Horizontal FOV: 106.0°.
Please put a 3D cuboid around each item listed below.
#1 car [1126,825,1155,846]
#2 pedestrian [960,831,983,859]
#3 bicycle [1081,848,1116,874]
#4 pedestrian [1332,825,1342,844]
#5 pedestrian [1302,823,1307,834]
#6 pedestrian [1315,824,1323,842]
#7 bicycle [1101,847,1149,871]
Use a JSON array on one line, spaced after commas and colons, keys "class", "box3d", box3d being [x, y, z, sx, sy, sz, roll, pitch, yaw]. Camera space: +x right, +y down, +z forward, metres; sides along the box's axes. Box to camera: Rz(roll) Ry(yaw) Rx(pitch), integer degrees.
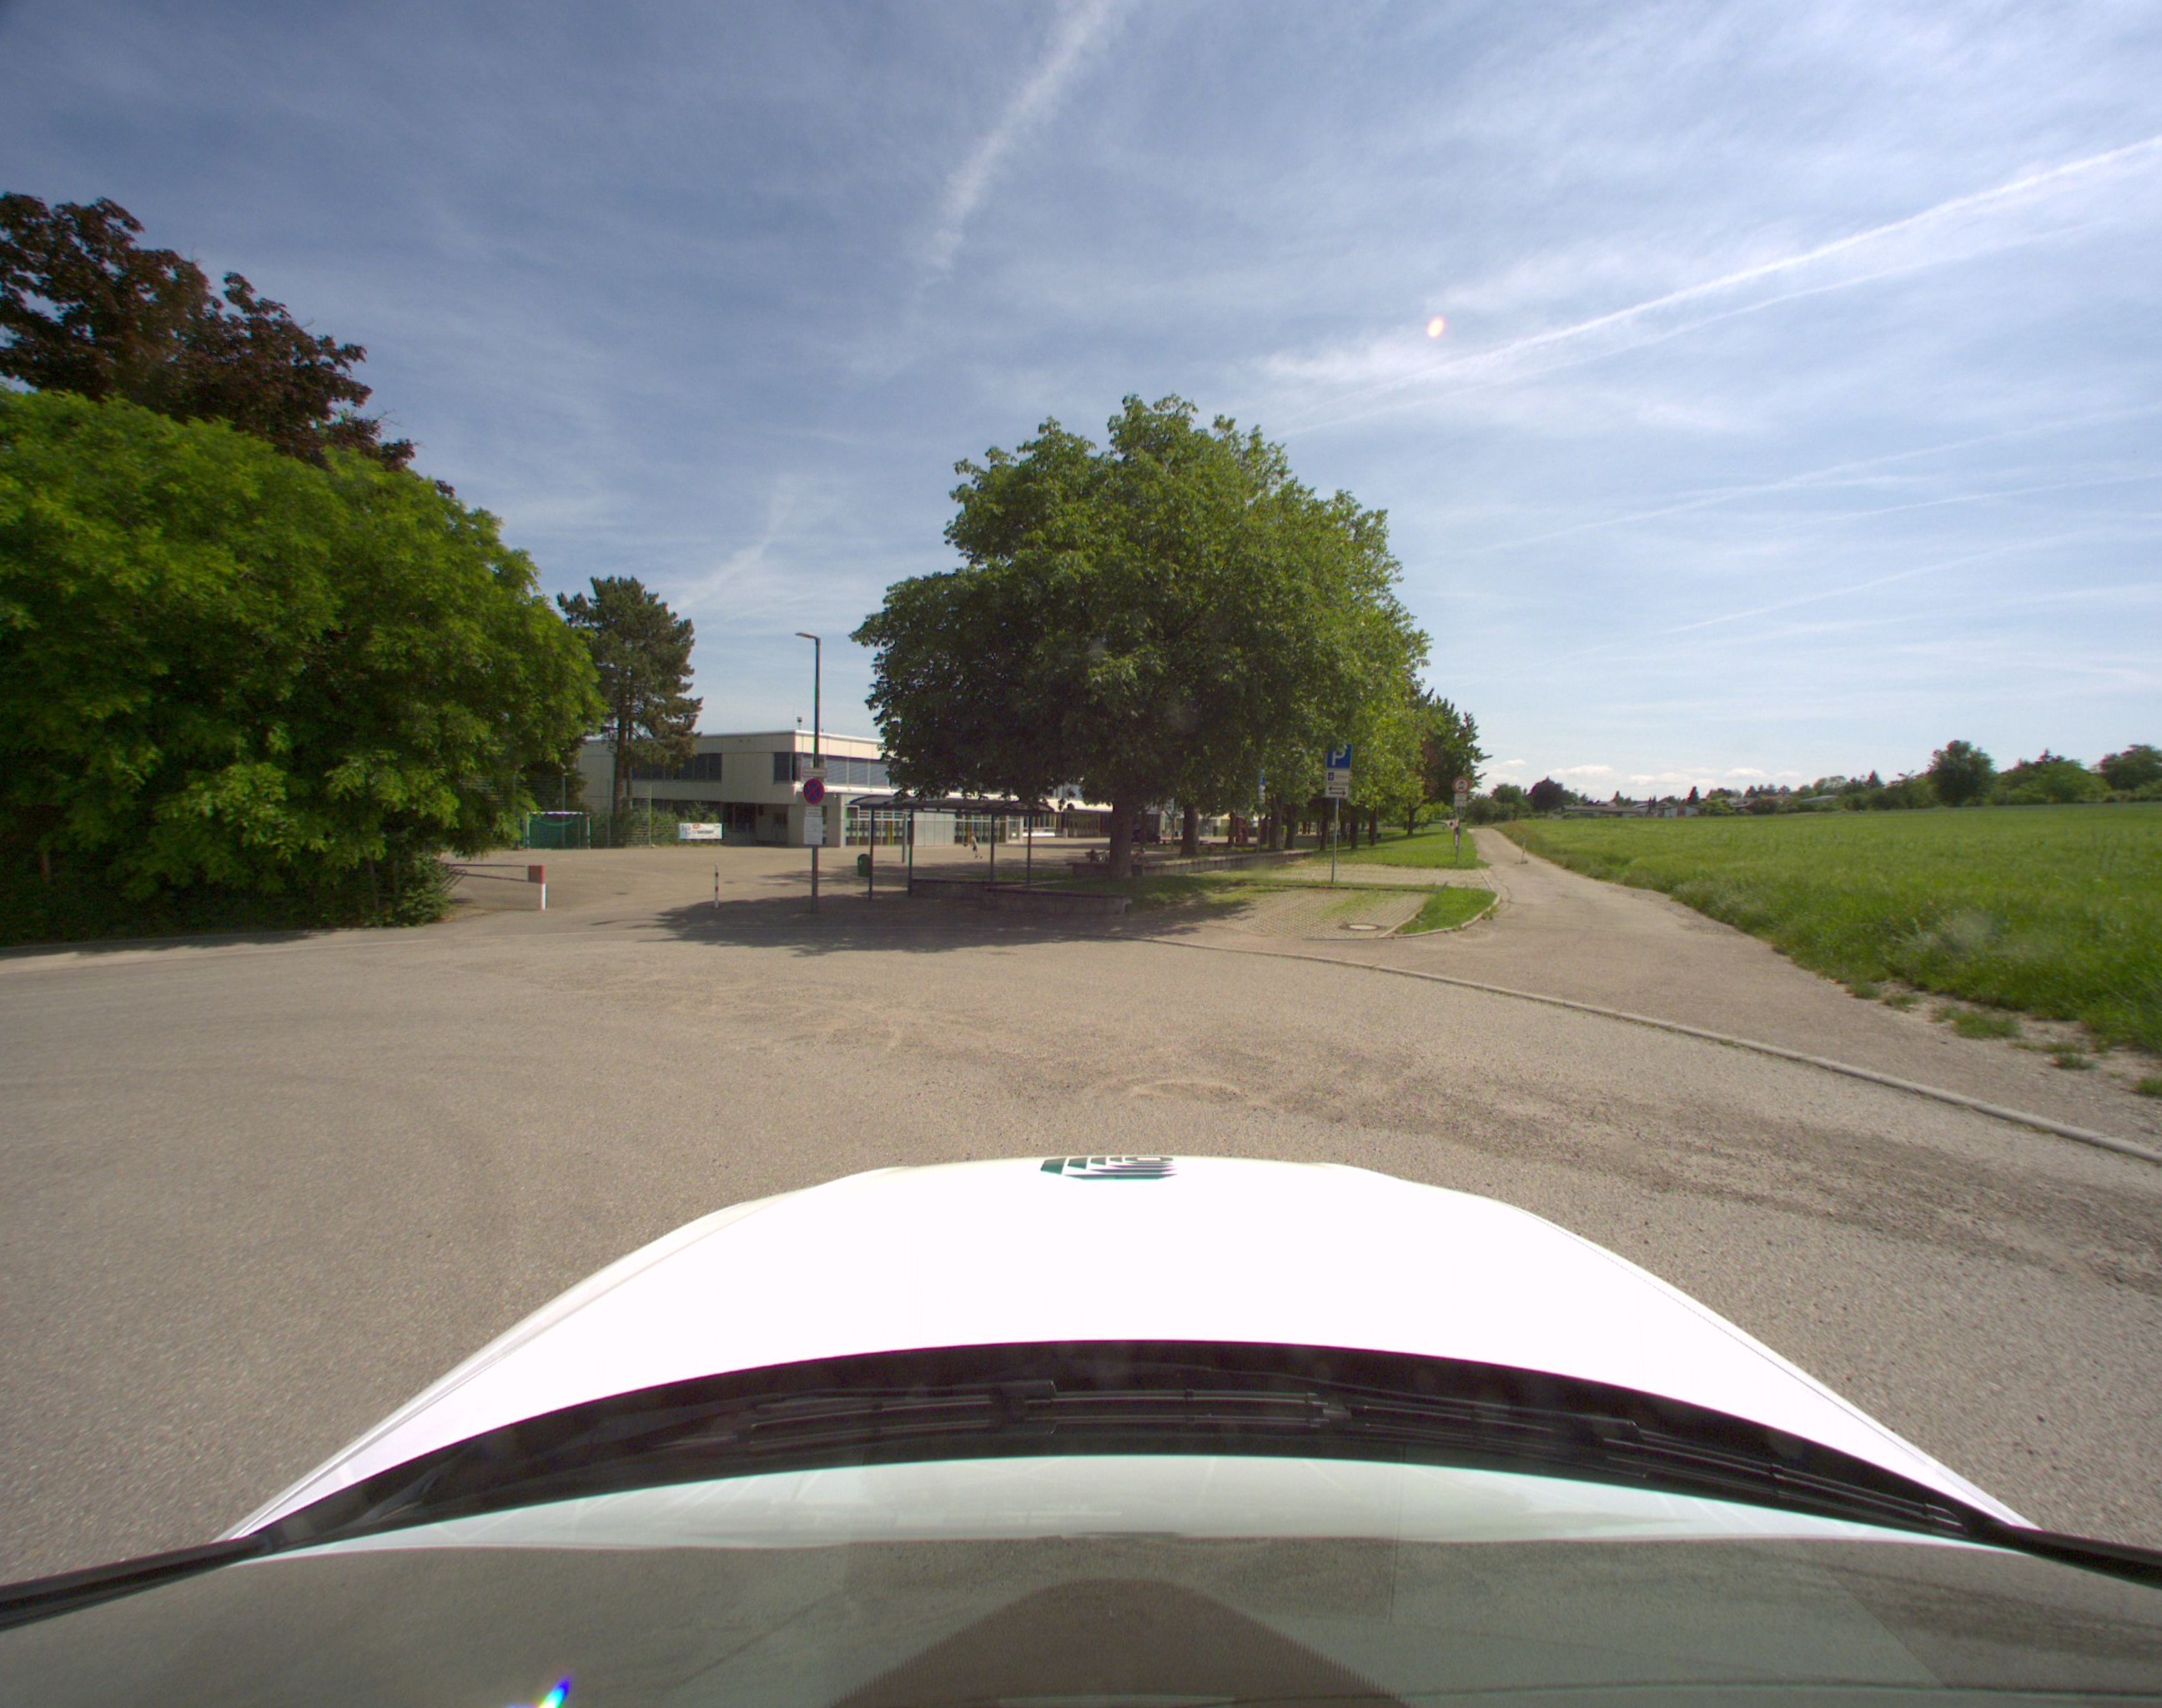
[{"class": "car", "box3d": [5.486, -1.728, 74.516, 1.676, 1.834, 3.429, 1, 2, 21]}, {"class": "pedestrian", "box3d": [-5.819, -0.475, 43.297, 1.063, 1.423, 0.919, 1, 1, -1]}, {"class": "bicycle", "box3d": [0.727, 0.283, 33.958, 0.589, 1.039, 1.905, 0, 1, 31]}, {"class": "pedestrian", "box3d": [27.396, -2.096, 87.074, 0.682, 2.013, 0.801, 1, 1, -9]}, {"class": "pedestrian", "box3d": [41.303, -4.746, 150.261, 0.716, 2.013, 0.687, -2, 0, 26]}, {"class": "pedestrian", "box3d": [27.957, -2.461, 95.738, 0.828, 2.013, 0.693, 1, 1, 7]}, {"class": "bicycle", "box3d": [1.944, 0.194, 35.879, 2.047, 1.039, 0.574, 0, 1, 15]}]
